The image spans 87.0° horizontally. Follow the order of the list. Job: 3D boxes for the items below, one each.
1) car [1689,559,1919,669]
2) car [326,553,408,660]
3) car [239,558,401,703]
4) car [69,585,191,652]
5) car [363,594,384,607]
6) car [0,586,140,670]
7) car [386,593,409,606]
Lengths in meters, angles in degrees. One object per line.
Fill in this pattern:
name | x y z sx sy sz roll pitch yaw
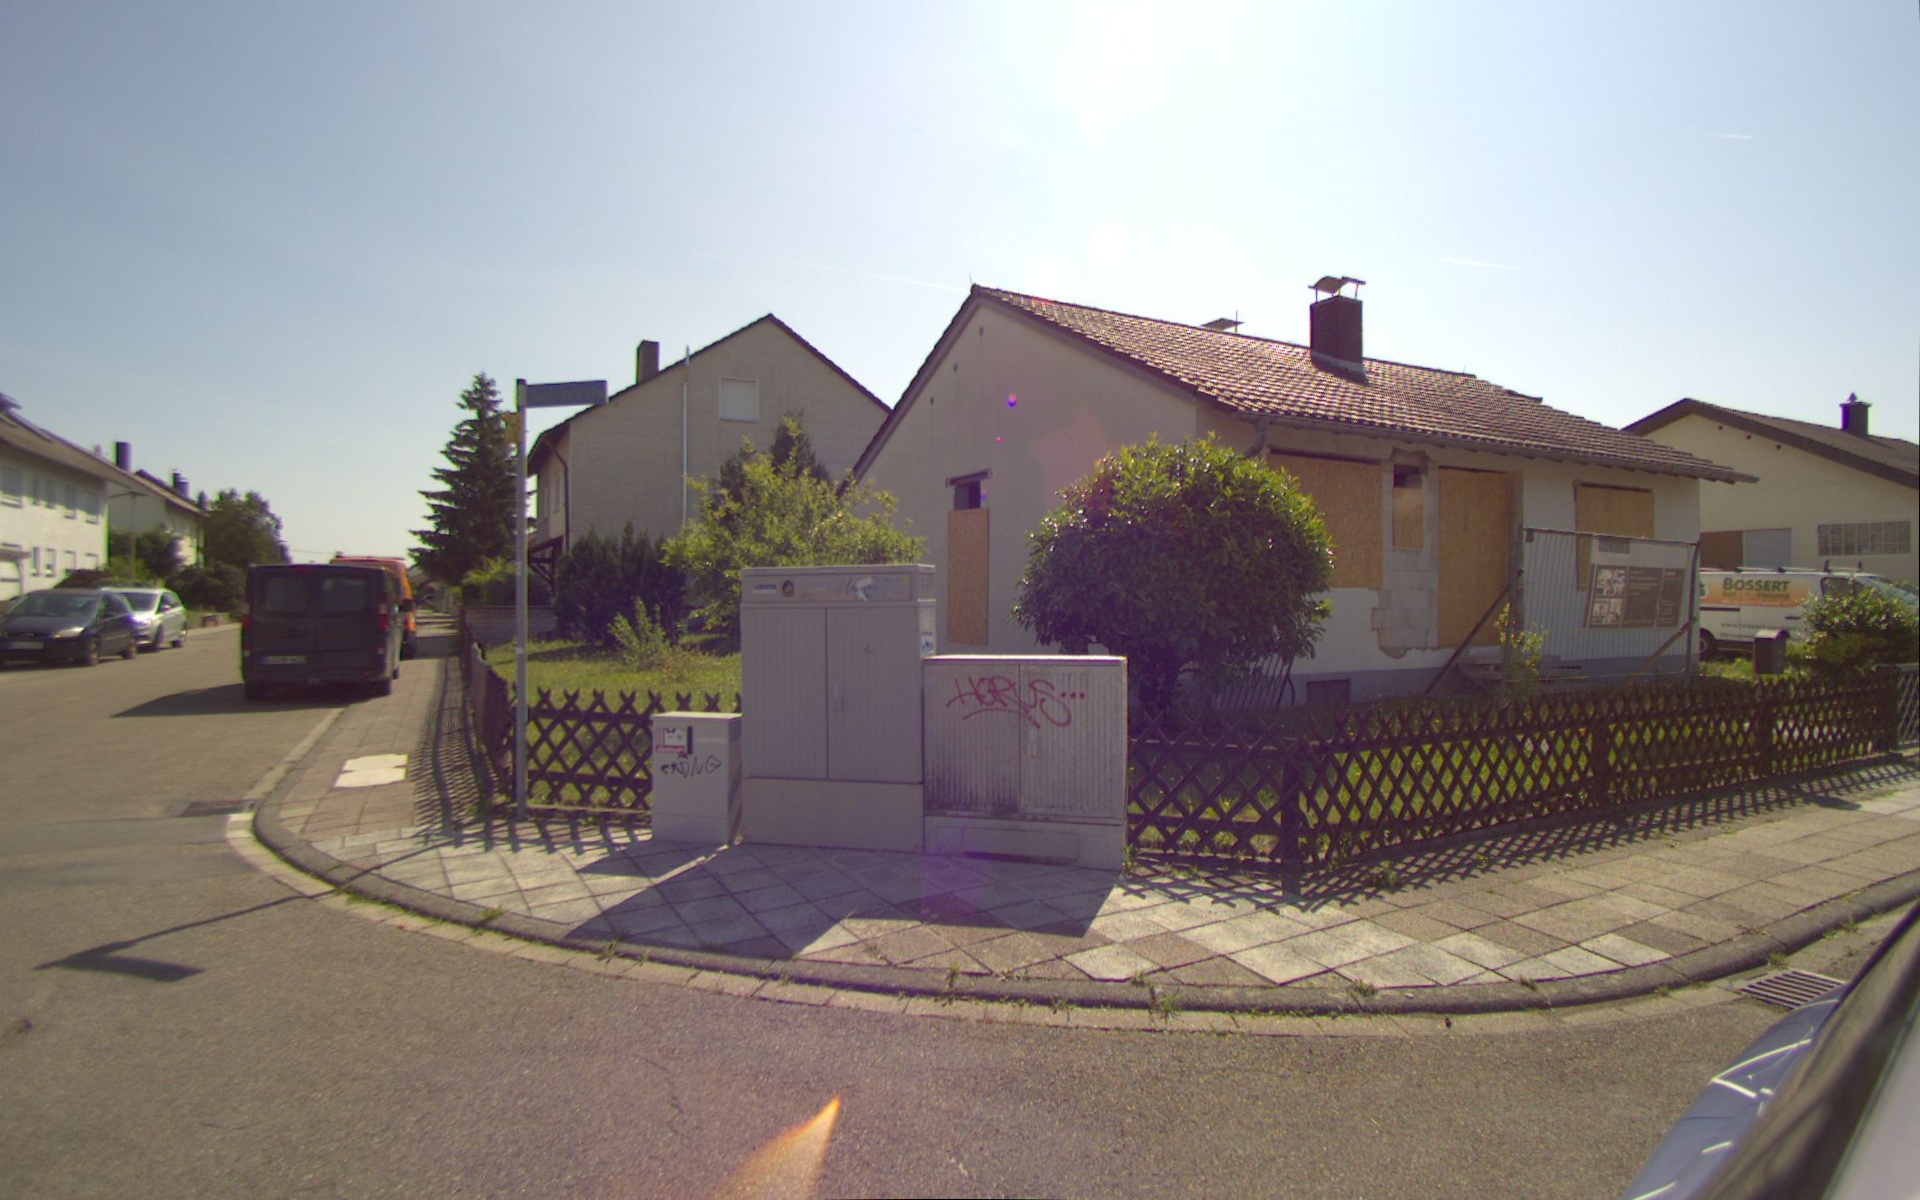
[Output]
car | 17.893 0.237 20.301 1.830 2.039 5.020 0 1 -27
car | -14.167 0.119 24.335 1.525 2.353 4.210 0 0 -28
car | -9.921 0.391 15.969 1.833 1.962 4.210 0 1 -28
car | -21.965 0.449 26.938 1.600 1.646 4.006 0 0 -26
car | -67.593 0.055 116.645 1.678 1.357 3.999 -1 -1 -35
car | -19.389 0.542 21.971 1.600 1.646 4.006 0 0 -26
car | -59.413 -0.050 106.920 1.678 1.357 3.999 -1 -1 -35
